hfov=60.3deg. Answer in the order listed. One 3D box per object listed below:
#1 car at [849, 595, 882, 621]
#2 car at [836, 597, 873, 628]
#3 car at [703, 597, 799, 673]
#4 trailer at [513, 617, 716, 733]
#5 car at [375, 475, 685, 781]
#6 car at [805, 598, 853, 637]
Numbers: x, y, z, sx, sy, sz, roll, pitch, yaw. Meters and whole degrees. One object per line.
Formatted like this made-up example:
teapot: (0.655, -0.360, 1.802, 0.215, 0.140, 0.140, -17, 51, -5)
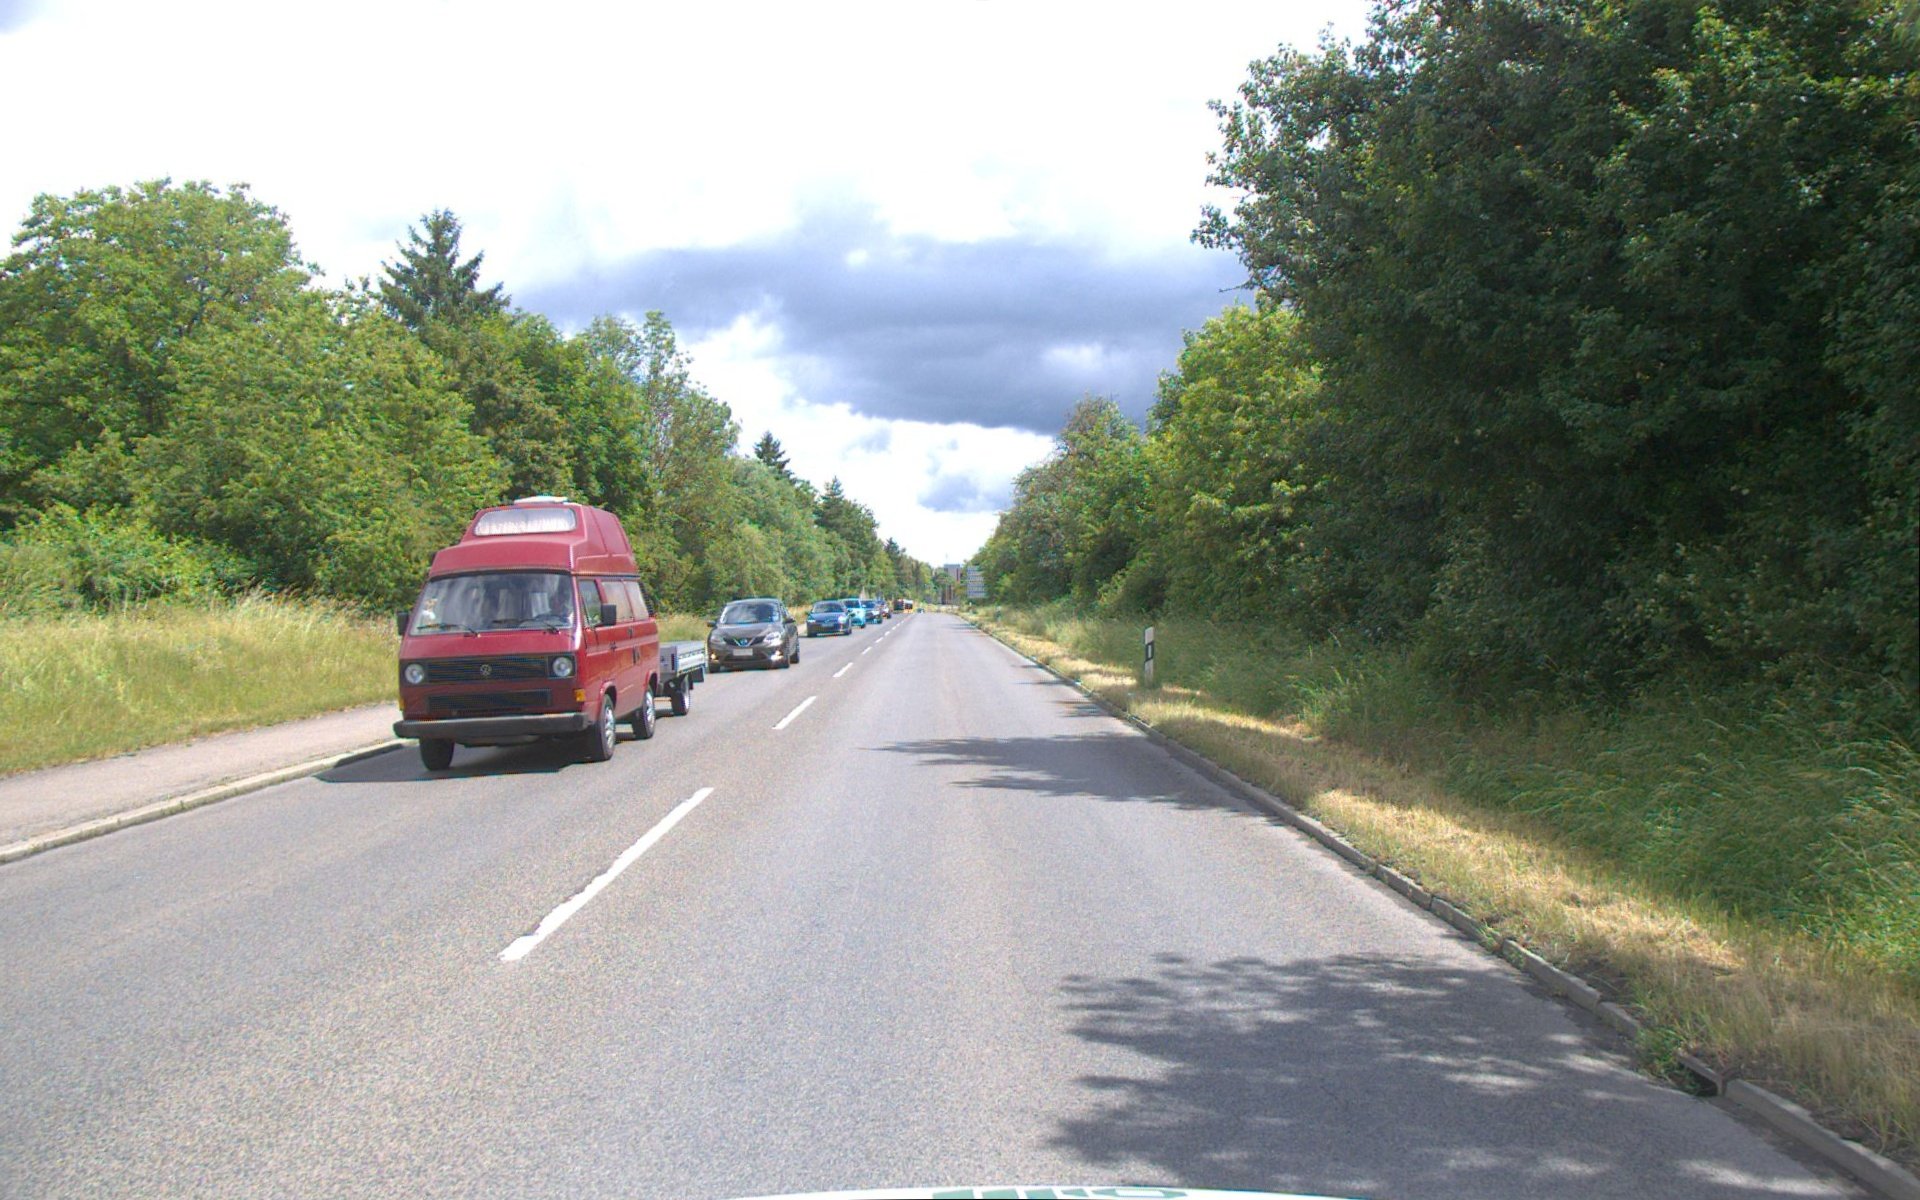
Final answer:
car: (-5.822, 0.479, 102.450, 1.846, 1.517, 4.715, -3, 0, -2)
car: (-5.460, 0.625, 86.028, 1.749, 1.472, 2.965, -3, 0, -2)
car: (-4.594, 0.724, 36.826, 1.682, 1.496, 3.999, -3, 0, -2)
trailer: (-4.387, 0.911, 21.571, 1.854, 1.221, 3.916, -3, 0, -1)
car: (-4.194, 0.236, 17.005, 1.929, 2.594, 4.723, -3, 0, -1)
car: (-5.492, 0.720, 69.632, 1.748, 1.472, 4.450, -3, 0, -2)
